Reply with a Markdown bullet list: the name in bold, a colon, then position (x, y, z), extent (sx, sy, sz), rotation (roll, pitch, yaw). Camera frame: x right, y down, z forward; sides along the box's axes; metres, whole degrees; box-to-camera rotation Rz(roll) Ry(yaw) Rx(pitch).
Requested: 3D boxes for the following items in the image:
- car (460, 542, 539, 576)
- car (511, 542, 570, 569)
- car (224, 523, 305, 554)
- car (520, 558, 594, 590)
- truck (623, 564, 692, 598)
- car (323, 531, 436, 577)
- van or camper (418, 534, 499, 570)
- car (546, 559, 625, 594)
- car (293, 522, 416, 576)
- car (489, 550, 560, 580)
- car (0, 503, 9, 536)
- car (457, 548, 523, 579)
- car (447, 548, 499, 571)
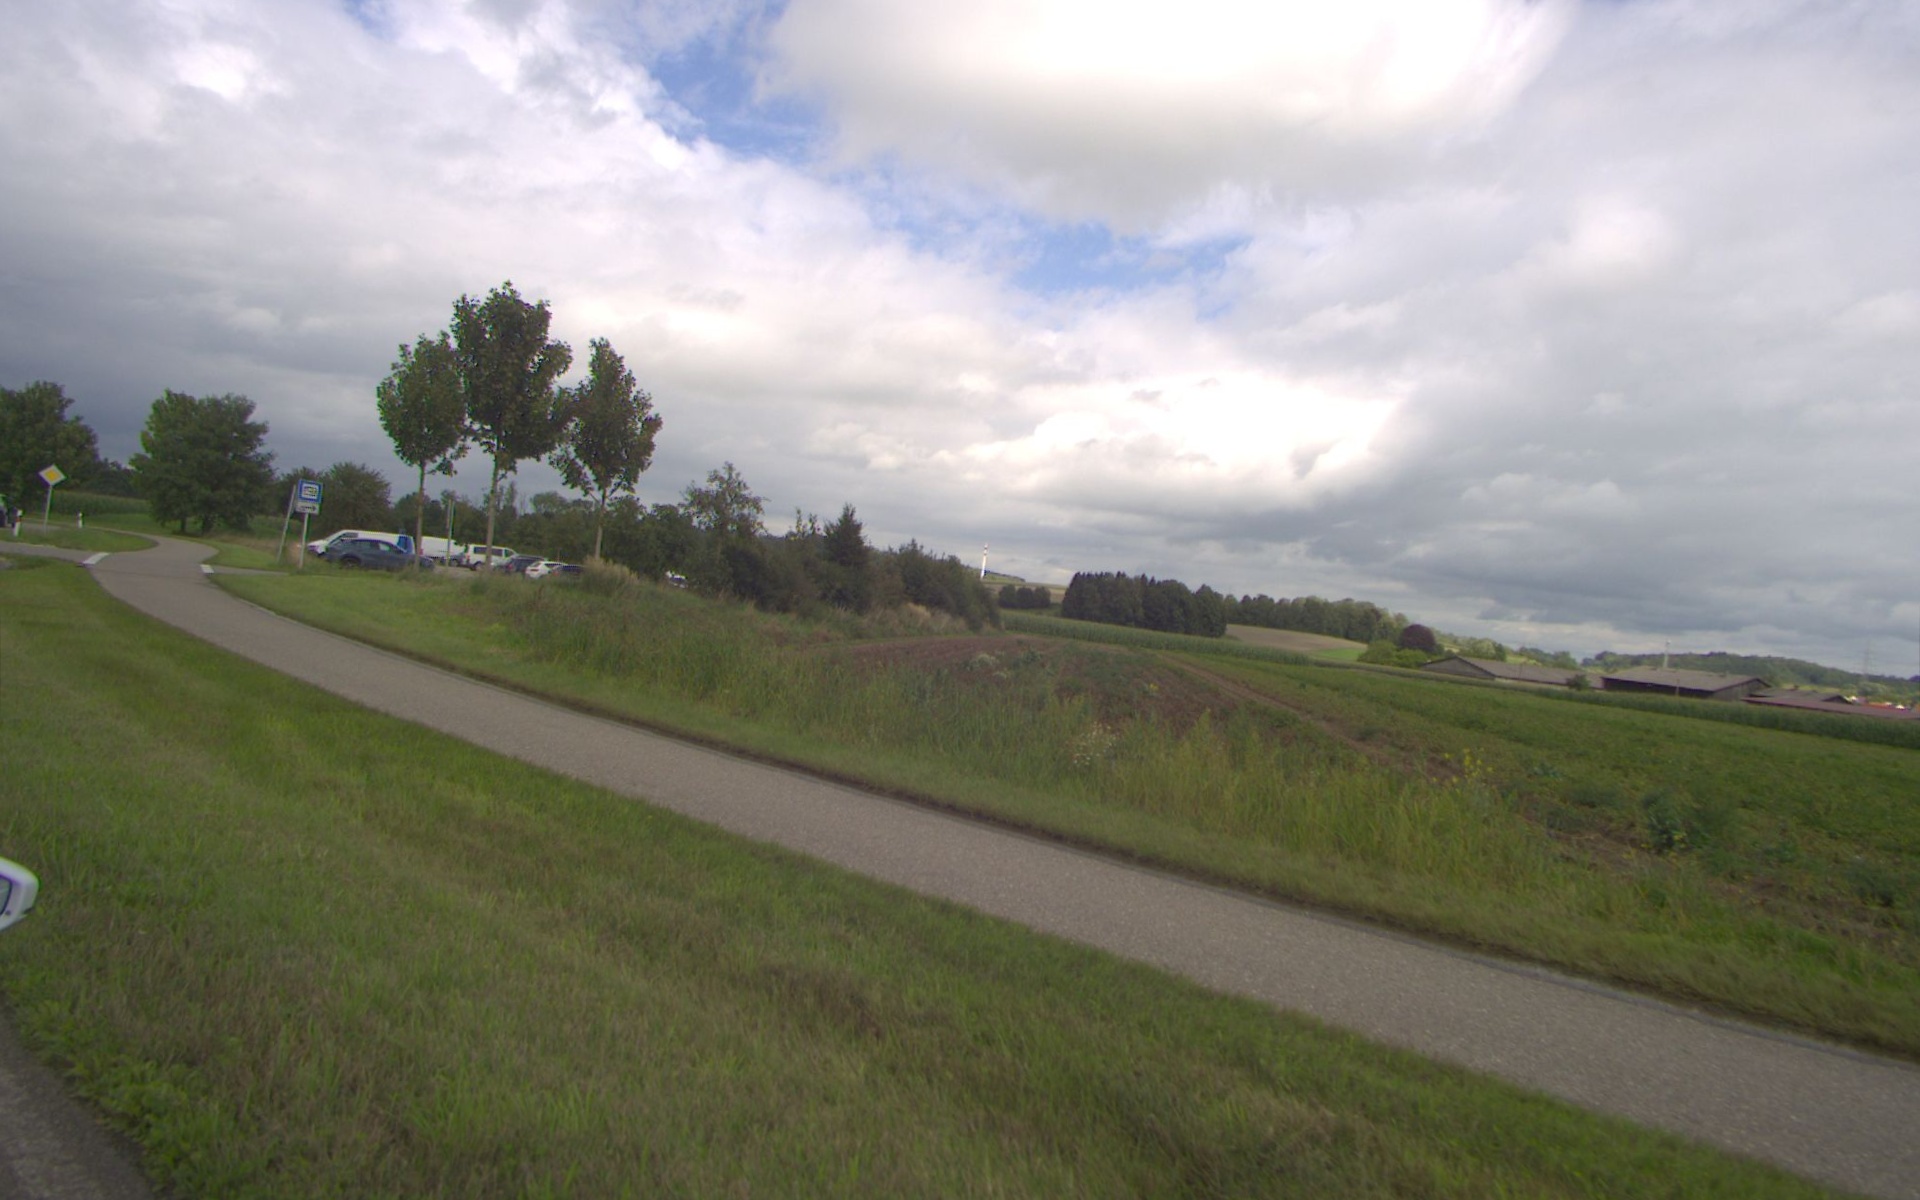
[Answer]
- **car**: position (-35.124, -3.132, 76.764), extent (5.001, 2.026, 2.207), rotation (6, 1, -39)
- **car**: position (-34.953, -3.702, 83.884), extent (1.974, 1.615, 3.977), rotation (6, -1, 45)
- **car**: position (-46.990, -4.135, 67.962), extent (4.307, 1.595, 1.950), rotation (6, 1, -39)
- **car**: position (-24.126, -1.568, 60.277), extent (3.676, 1.408, 1.738), rotation (8, -1, -44)
- **truck**: position (-25.949, -1.631, 86.158), extent (3.117, 2.245, 6.312), rotation (7, -1, -41)
- **car**: position (-26.640, -2.104, 46.219), extent (4.249, 1.586, 1.818), rotation (6, 1, -39)
- **van or camper**: position (-49.000, -4.695, 98.330), extent (6.702, 2.593, 2.030), rotation (7, 0, -35)
- **car**: position (-20.761, -1.294, 55.766), extent (3.670, 1.408, 1.711), rotation (7, -1, -39)
- **car**: position (-29.970, -2.517, 49.858), extent (4.923, 1.998, 1.934), rotation (7, -1, -39)
- **car**: position (-27.547, -2.225, 63.734), extent (3.676, 1.408, 1.738), rotation (8, -1, -44)
- **car**: position (-43.797, -3.718, 44.791), extent (1.834, 1.434, 3.954), rotation (7, -1, -41)
- **car**: position (-32.473, -2.490, 69.636), extent (3.635, 1.627, 1.757), rotation (7, 0, -8)
- **car**: position (-41.049, -3.396, 84.776), extent (3.606, 1.457, 1.690), rotation (7, -1, -37)
